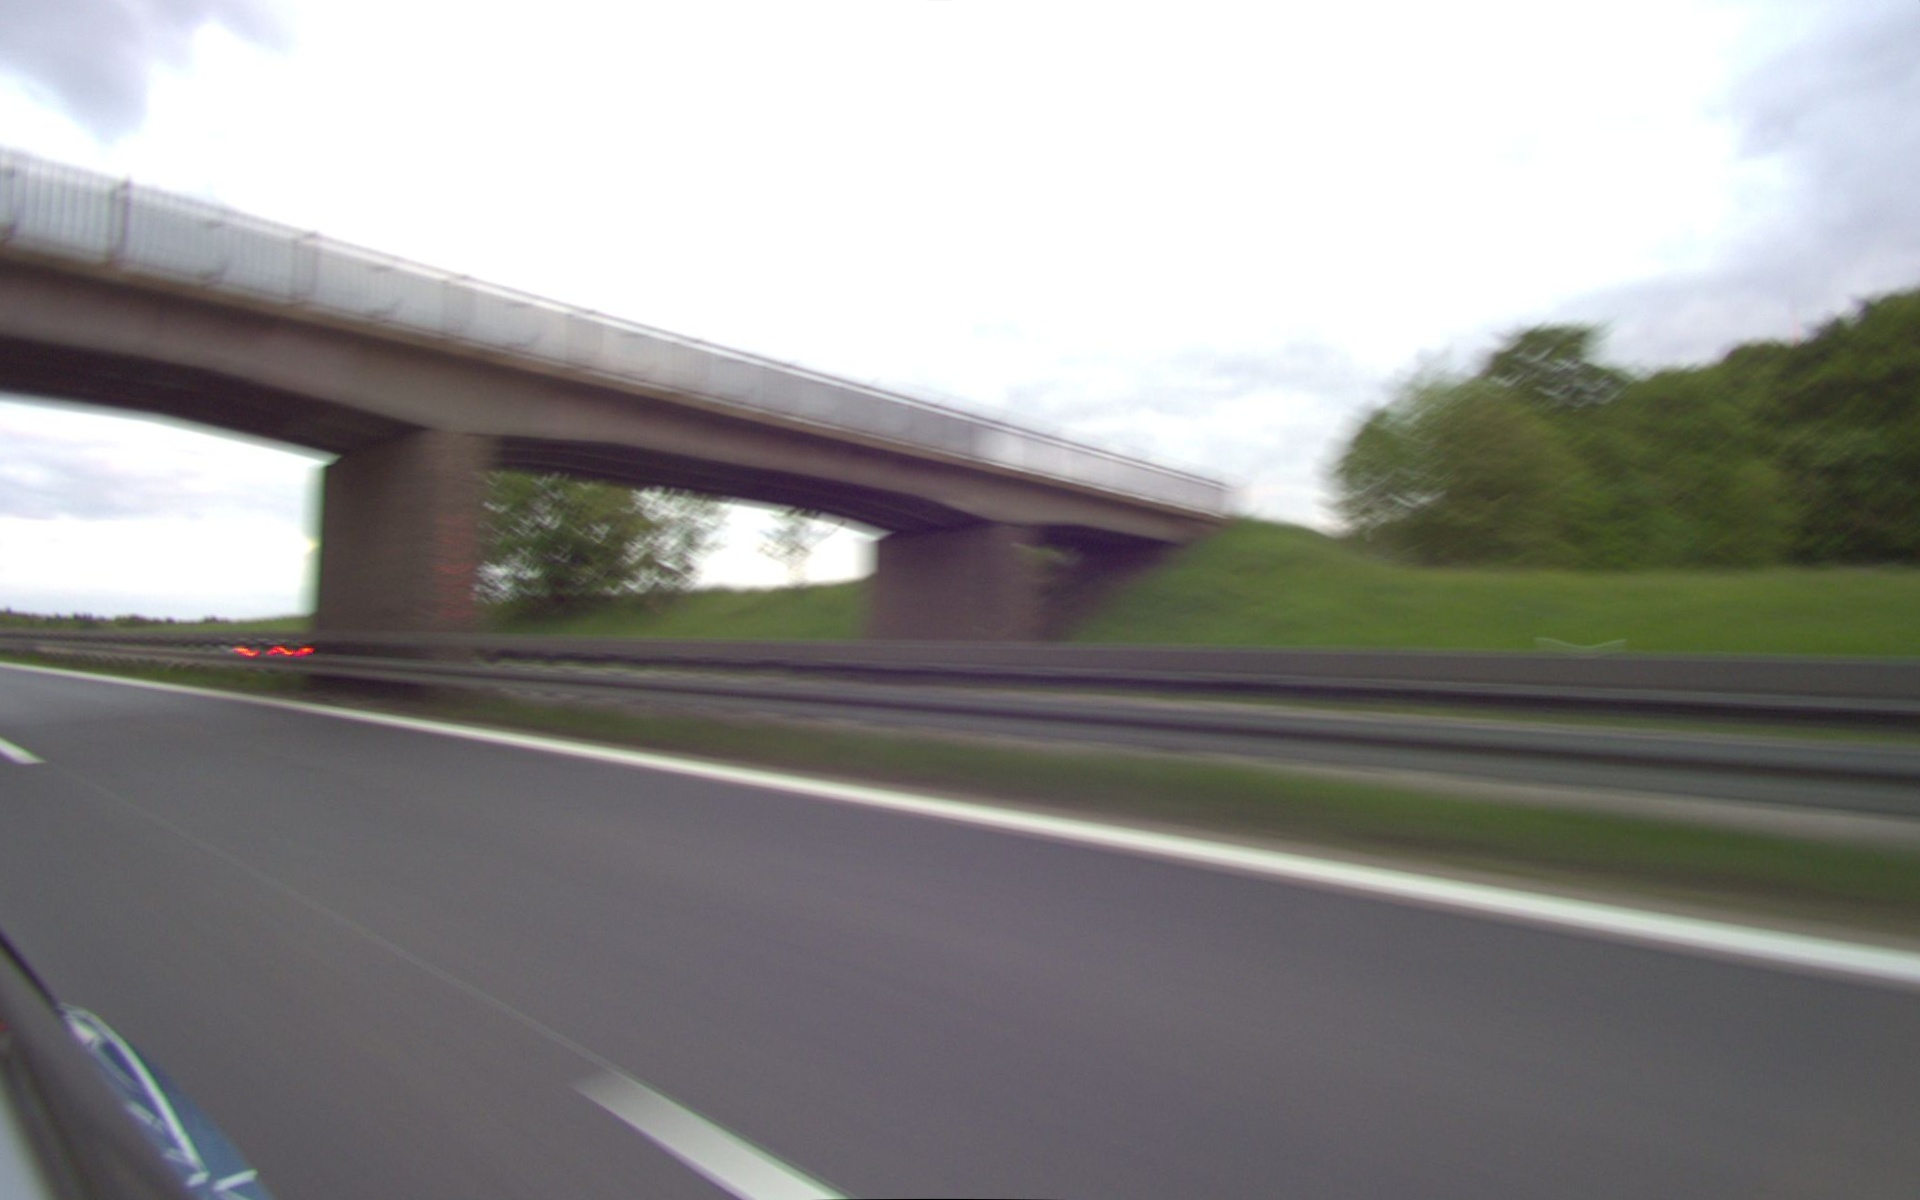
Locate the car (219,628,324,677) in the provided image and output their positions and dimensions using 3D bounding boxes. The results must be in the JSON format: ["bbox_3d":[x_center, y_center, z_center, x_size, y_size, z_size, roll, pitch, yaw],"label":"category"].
[{"bbox_3d":[-22.784,1.677,33.465,3.995,1.430,1.717,-1,1,38],"label":"car"}]
